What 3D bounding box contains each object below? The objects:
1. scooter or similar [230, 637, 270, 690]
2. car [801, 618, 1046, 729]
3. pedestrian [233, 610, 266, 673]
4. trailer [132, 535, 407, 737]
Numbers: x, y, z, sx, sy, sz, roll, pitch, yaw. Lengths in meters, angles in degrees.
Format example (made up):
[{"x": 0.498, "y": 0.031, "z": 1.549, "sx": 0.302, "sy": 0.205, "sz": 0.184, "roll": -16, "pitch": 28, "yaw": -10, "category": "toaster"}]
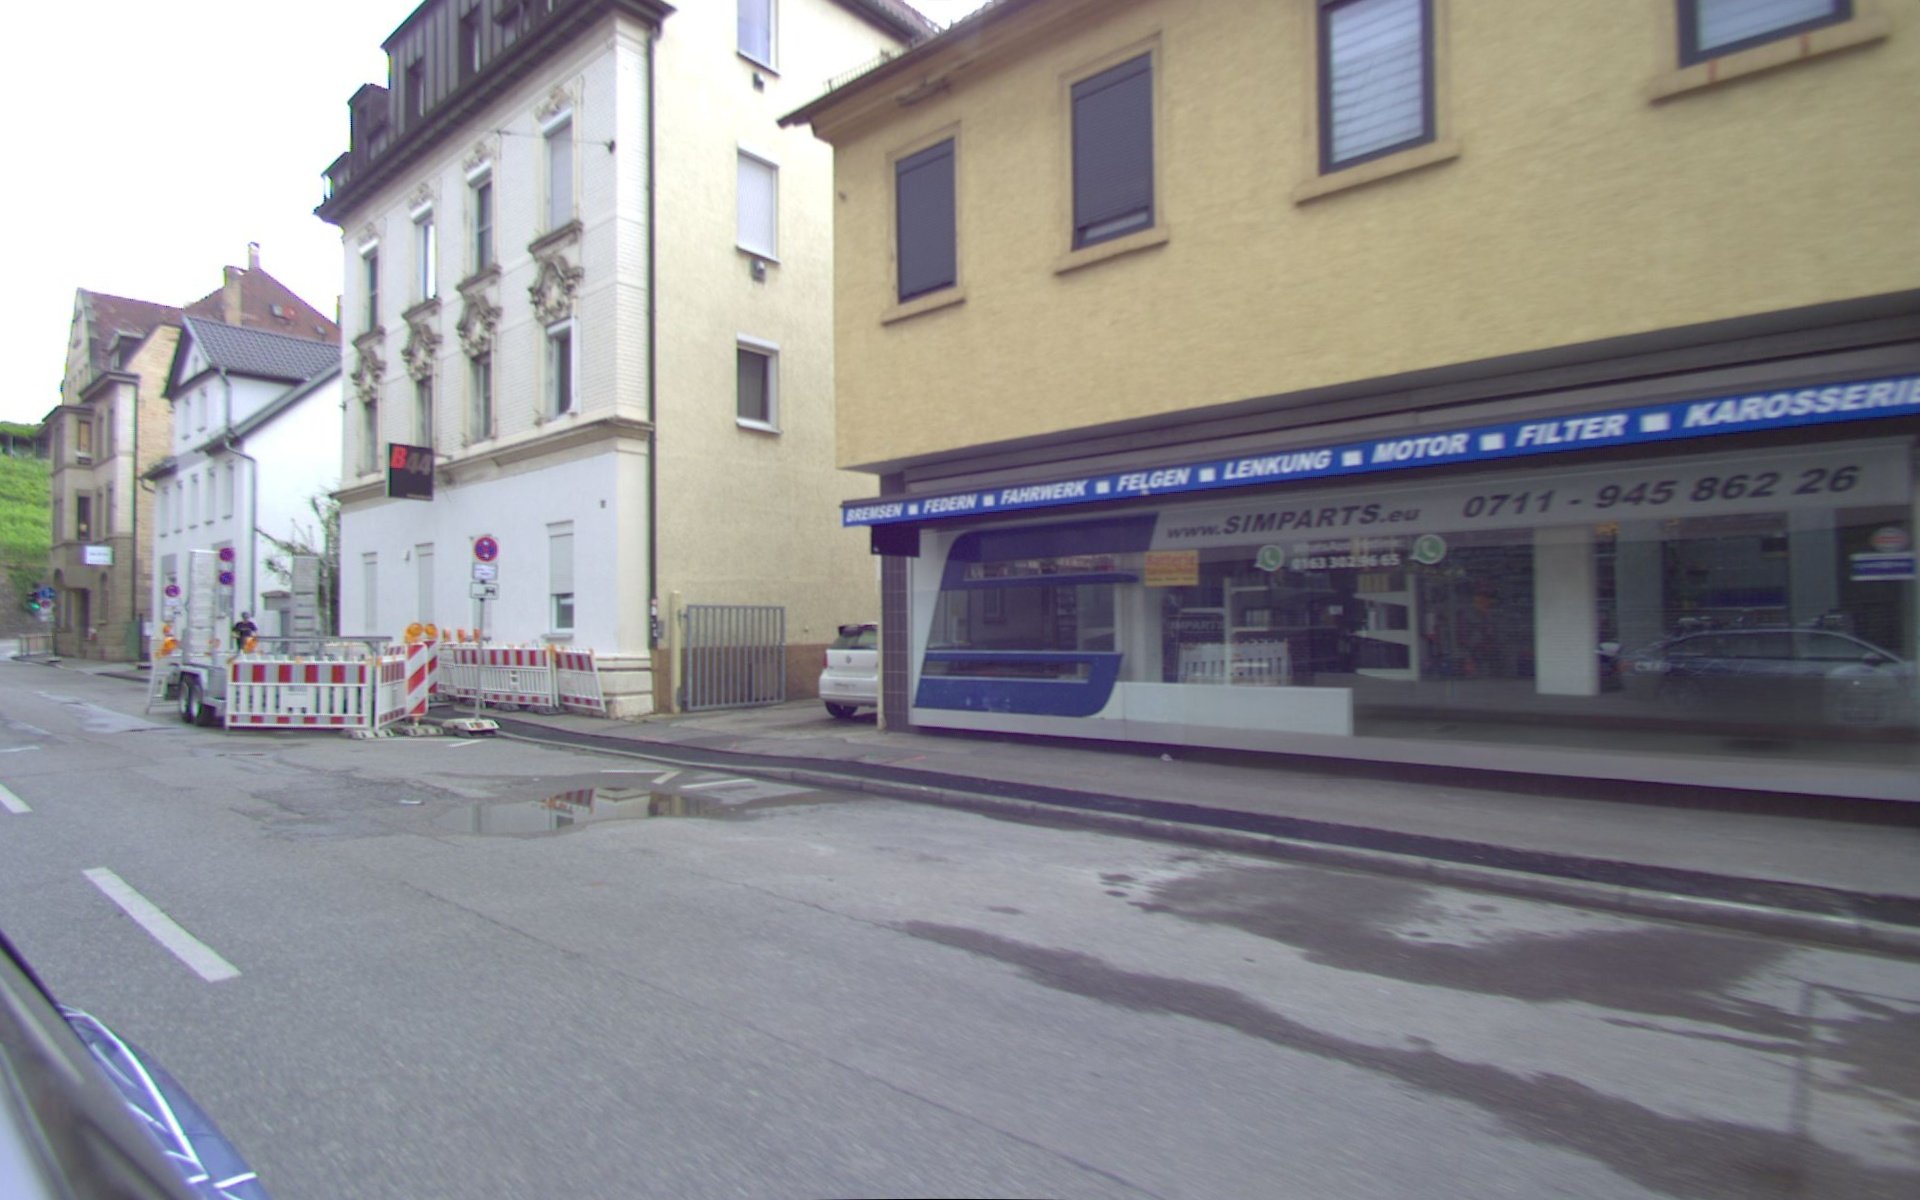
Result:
[{"x": -18.315, "y": 1.614, "z": 26.111, "sx": 1.227, "sy": 1.300, "sz": 0.554, "roll": -1, "pitch": -1, "yaw": 40, "category": "scooter or similar"}, {"x": -0.449, "y": 1.042, "z": 15.825, "sx": 1.723, "sy": 1.497, "sz": 3.949, "roll": -1, "pitch": -2, "yaw": 37, "category": "car"}, {"x": -18.344, "y": 1.055, "z": 26.124, "sx": 0.607, "sy": 1.578, "sz": 0.594, "roll": -1, "pitch": -1, "yaw": 42, "category": "pedestrian"}, {"x": -11.884, "y": 0.607, "z": 17.184, "sx": 6.302, "sy": 2.825, "sz": 2.418, "roll": -2, "pitch": -3, "yaw": 42, "category": "trailer"}]
